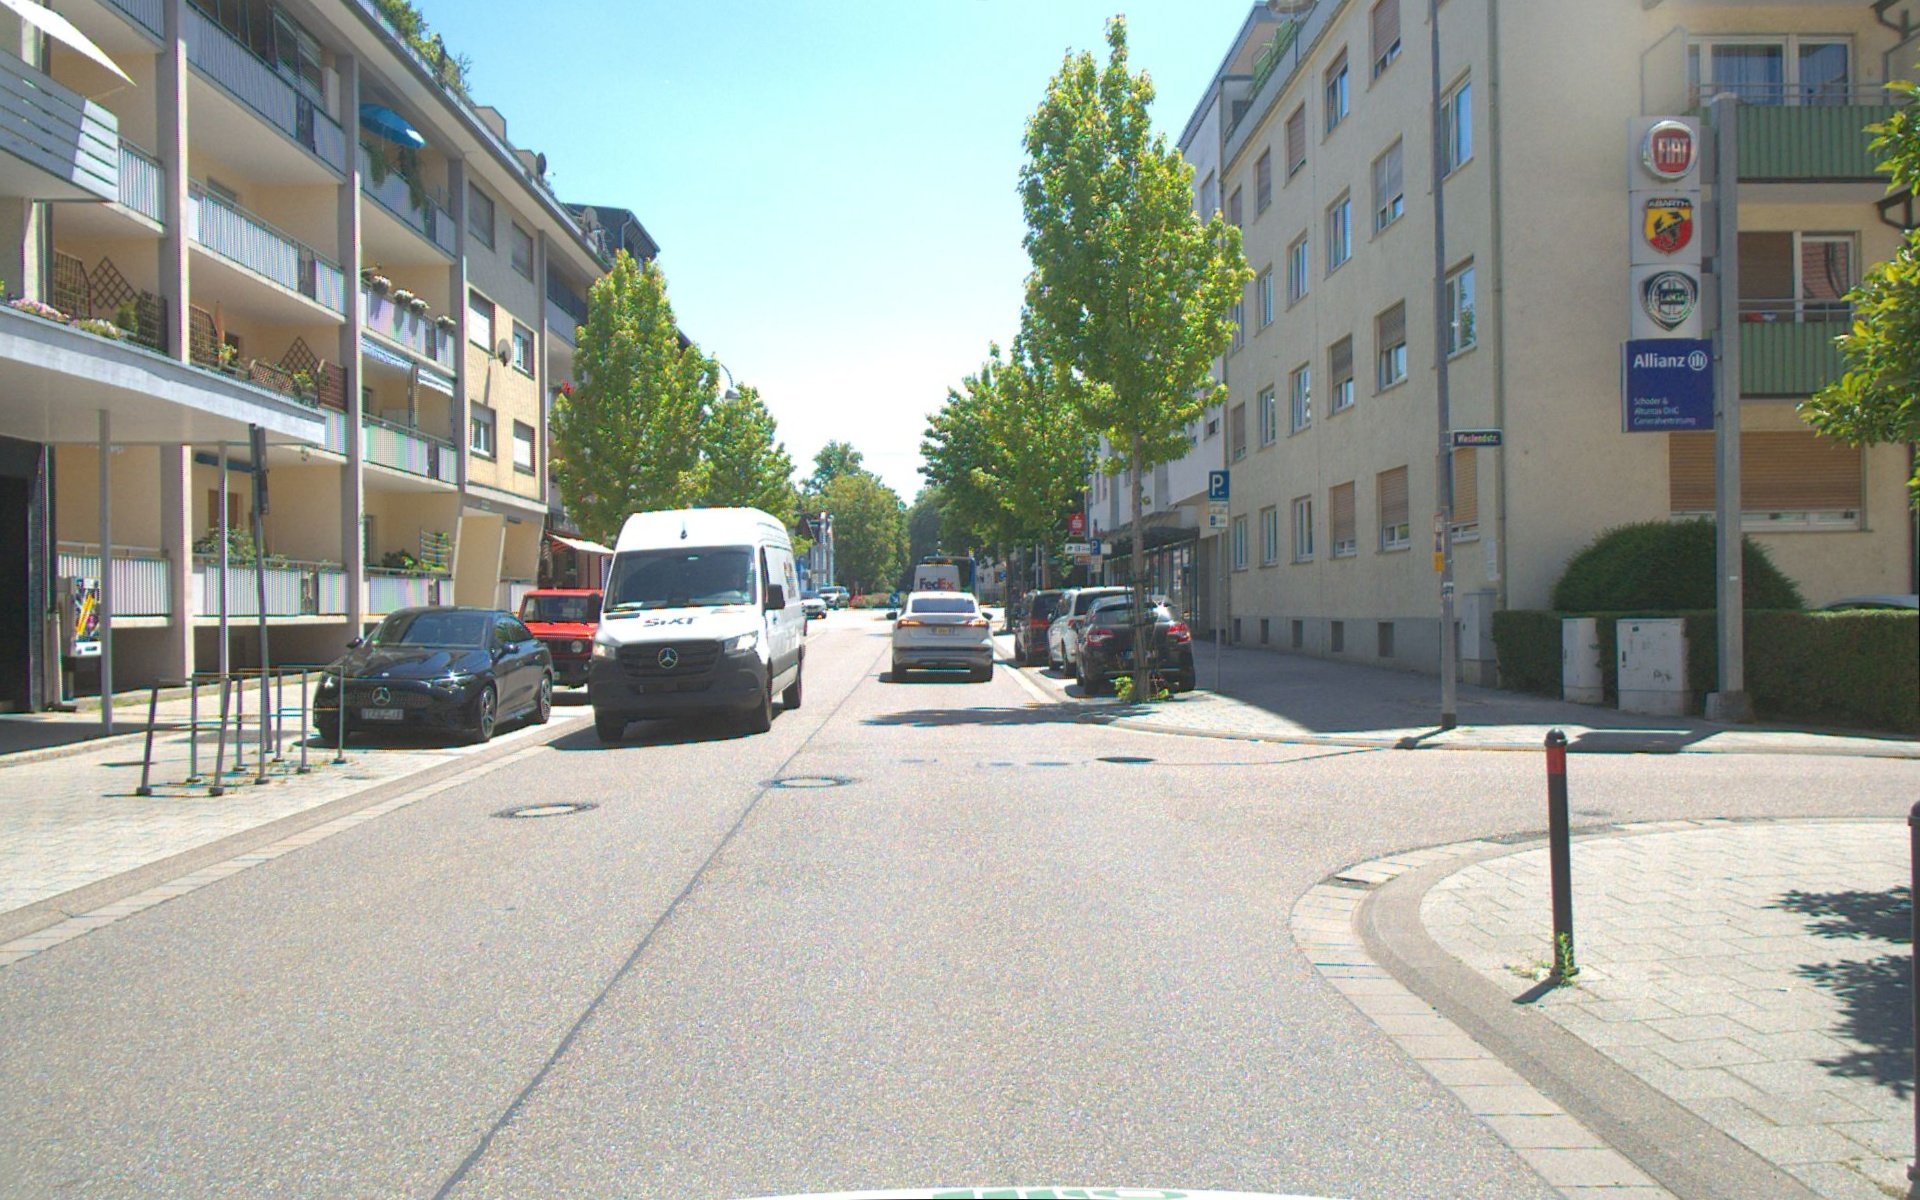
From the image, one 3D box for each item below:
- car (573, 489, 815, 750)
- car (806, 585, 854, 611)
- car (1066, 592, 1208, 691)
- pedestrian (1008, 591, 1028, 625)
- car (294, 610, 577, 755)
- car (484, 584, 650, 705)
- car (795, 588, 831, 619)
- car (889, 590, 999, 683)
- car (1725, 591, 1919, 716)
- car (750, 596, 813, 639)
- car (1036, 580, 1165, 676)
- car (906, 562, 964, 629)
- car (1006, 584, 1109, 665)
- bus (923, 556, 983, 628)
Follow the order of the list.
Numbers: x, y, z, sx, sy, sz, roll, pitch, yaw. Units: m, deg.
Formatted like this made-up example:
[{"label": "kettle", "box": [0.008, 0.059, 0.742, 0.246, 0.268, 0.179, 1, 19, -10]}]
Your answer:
[{"label": "car", "box": [-3.136, 0.199, 21.108, 1.995, 2.676, 7.105, -3, 0, -1]}, {"label": "car", "box": [-9.412, -0.129, 119.876, 1.827, 1.788, 3.999, 1, 0, 22]}, {"label": "car", "box": [2.807, 0.620, 27.129, 1.857, 1.463, 4.544, -1, 0, 0]}, {"label": "pedestrian", "box": [2.656, 0.350, 75.606, 0.702, 1.529, 0.582, -1, 0, 24]}, {"label": "car", "box": [-6.038, 0.874, 19.737, 1.858, 1.442, 5.046, 1, 0, -2]}, {"label": "car", "box": [-6.124, 0.645, 26.210, 1.717, 1.732, 4.100, 1, 0, -2]}, {"label": "car", "box": [-8.719, 0.212, 98.235, 1.819, 1.721, 4.149, -2, 0, -2]}, {"label": "car", "box": [-0.362, 0.656, 31.776, 1.953, 1.661, 3.998, 1, 0, -2]}, {"label": "car", "box": [11.755, 0.610, 21.219, 1.802, 1.441, 3.850, -1, 0, -6]}, {"label": "car", "box": [-6.477, 0.622, 60.382, 1.716, 1.478, 4.401, 1, 0, 1]}, {"label": "car", "box": [2.732, 0.523, 33.269, 1.859, 1.704, 4.687, -2, 0, -4]}, {"label": "car", "box": [-0.982, -0.154, 65.026, 2.112, 2.484, 5.282, 1, 0, -1]}, {"label": "car", "box": [2.208, 0.539, 38.602, 1.819, 1.704, 4.533, -2, 0, -4]}, {"label": "bus", "box": [-0.290, -0.350, 79.355, 2.606, 3.278, 7.302, 1, 0, 1]}]
